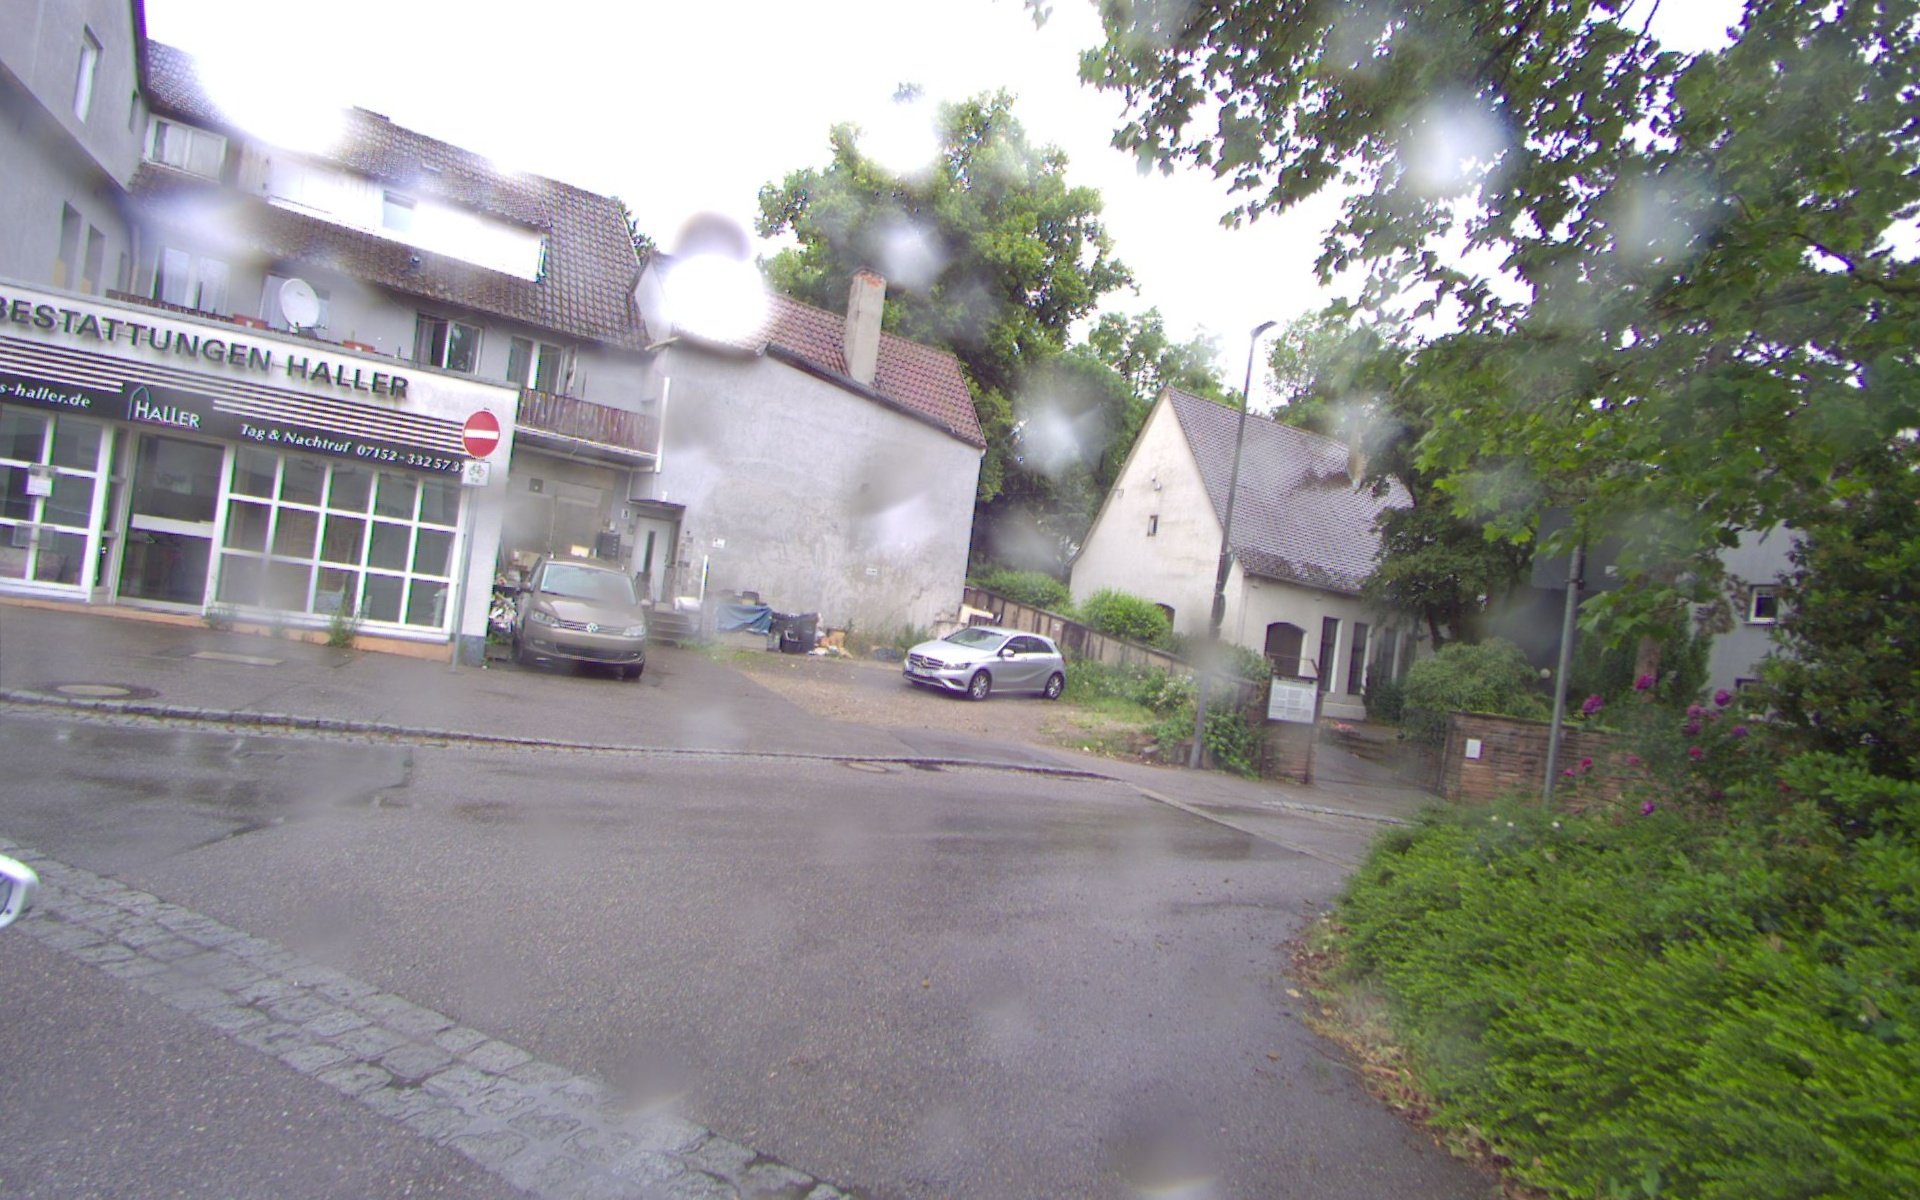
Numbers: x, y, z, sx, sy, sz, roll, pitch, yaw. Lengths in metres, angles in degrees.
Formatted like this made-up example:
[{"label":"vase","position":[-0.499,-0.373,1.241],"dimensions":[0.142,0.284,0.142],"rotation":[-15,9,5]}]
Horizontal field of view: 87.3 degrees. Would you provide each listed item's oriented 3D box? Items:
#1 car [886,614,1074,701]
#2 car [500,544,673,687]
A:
[{"label":"car","position":[0.509,1.268,21.404],"dimensions":[1.717,1.406,4.022],"rotation":[11,2,40]},{"label":"car","position":[-6.284,0.143,16.572],"dimensions":[1.908,1.749,4.633],"rotation":[8,0,-28]}]
